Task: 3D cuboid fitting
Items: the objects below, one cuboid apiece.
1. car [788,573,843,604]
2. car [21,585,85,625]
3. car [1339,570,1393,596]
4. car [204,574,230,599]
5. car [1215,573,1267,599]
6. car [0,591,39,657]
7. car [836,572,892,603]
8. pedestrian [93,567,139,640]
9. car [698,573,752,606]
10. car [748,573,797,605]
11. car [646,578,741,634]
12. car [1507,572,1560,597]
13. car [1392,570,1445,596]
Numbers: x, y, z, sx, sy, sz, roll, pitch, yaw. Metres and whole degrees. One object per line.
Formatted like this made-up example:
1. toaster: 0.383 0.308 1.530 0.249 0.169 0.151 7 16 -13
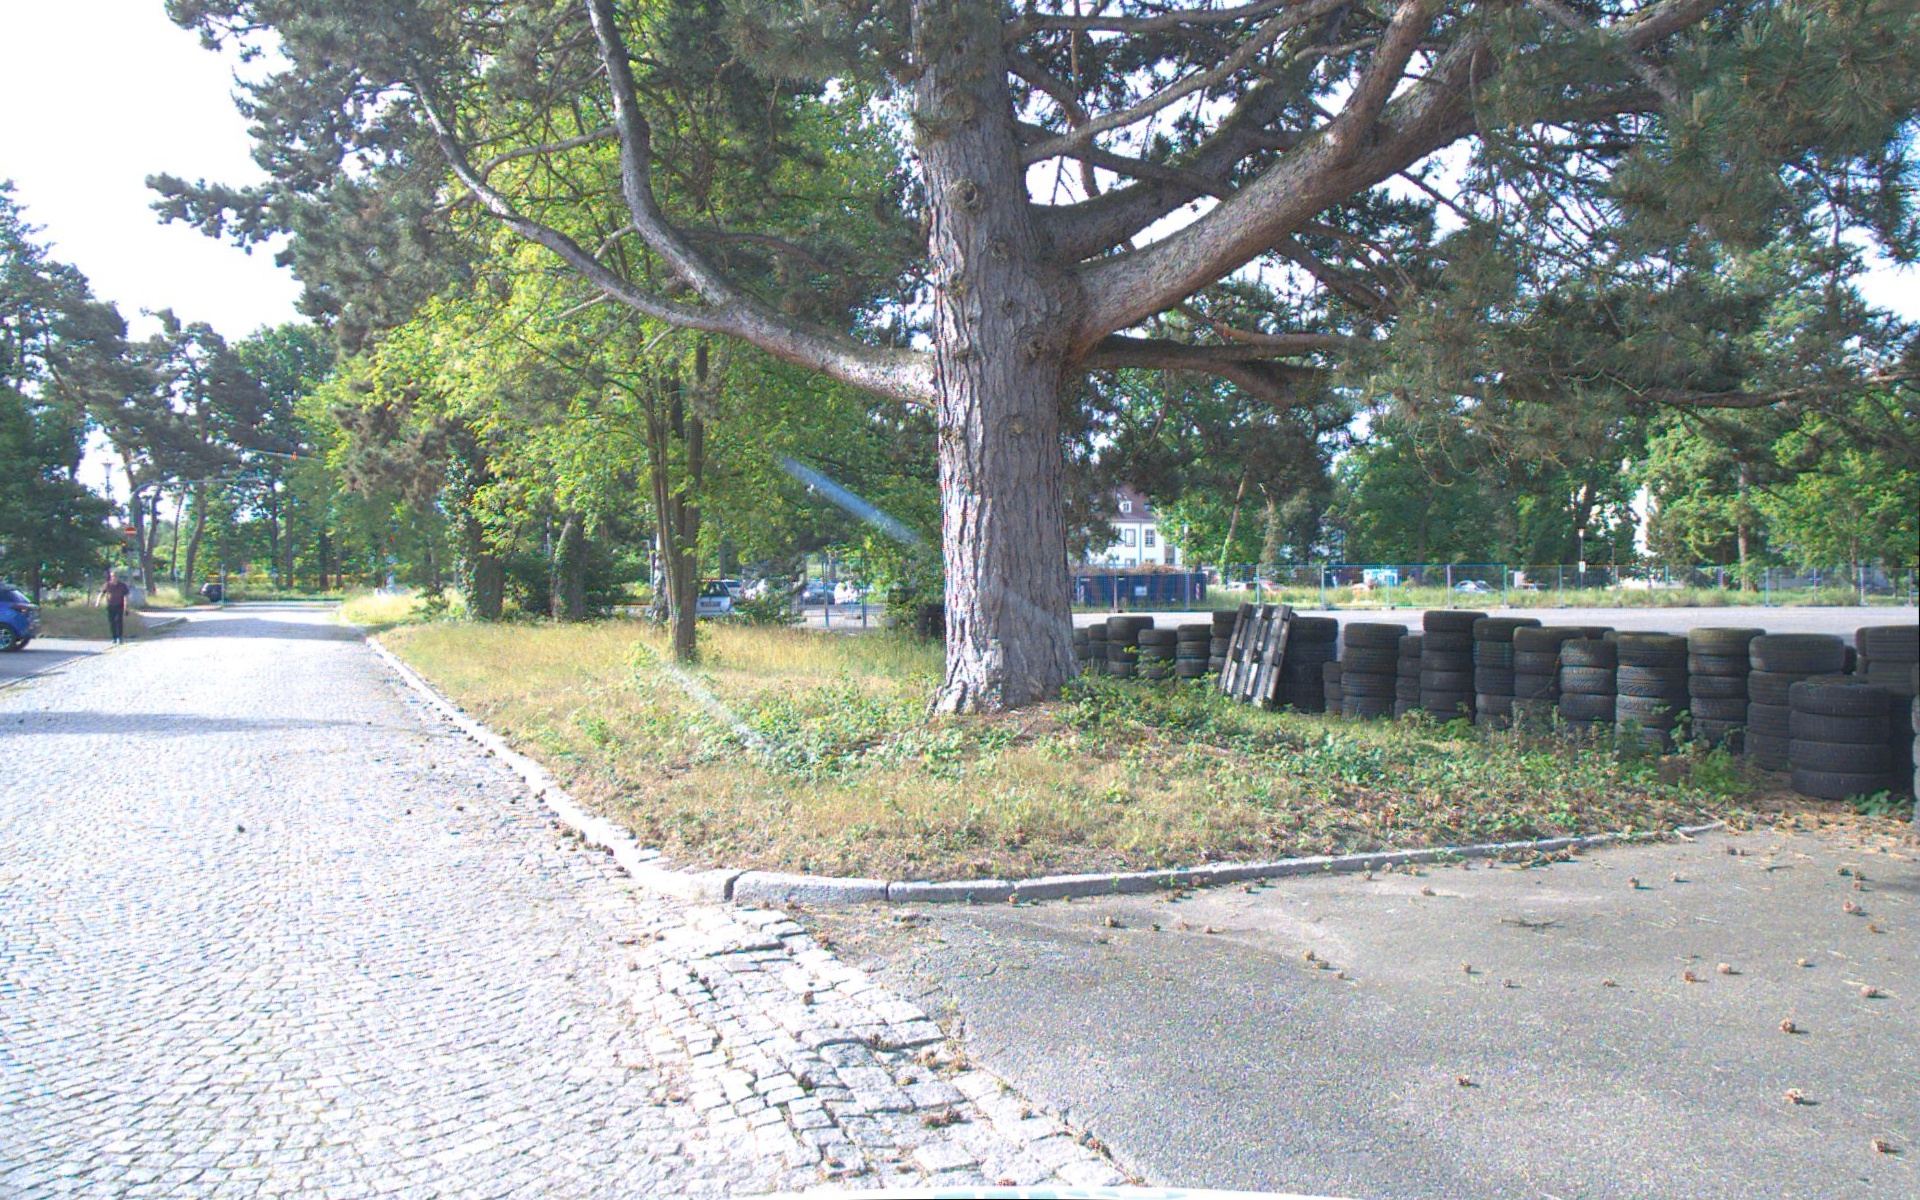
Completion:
1. car: -7.853 -0.621 89.667 1.966 1.646 3.974 -1 1 -22
2. car: -39.493 0.189 72.094 1.966 1.646 3.974 -1 1 -22
3. car: 28.629 -1.189 116.738 1.961 1.780 3.983 0 1 -16
4. car: -60.857 -1.122 135.494 1.674 2.049 3.974 0 1 -22
5. car: 19.211 -0.973 113.042 1.962 1.780 3.981 0 1 -17
6. car: -22.463 0.544 37.157 3.049 1.475 1.478 -1 1 -29
7. car: -5.294 -0.718 91.064 1.966 1.646 3.974 -1 1 -22
8. pedestrian: -22.160 0.089 43.432 0.948 1.876 0.943 -1 1 -36
9. car: -12.413 -0.565 87.176 1.966 1.646 3.974 -1 1 -22
10. car: -10.053 -0.587 88.440 1.794 1.646 3.977 -1 1 -20
11. car: -7.892 0.141 48.744 1.861 1.568 3.971 0 1 -23
12. car: 42.467 -1.135 122.472 1.959 1.780 3.988 0 1 -12
13. car: 32.863 -1.220 118.664 1.960 1.780 3.985 0 1 -15
